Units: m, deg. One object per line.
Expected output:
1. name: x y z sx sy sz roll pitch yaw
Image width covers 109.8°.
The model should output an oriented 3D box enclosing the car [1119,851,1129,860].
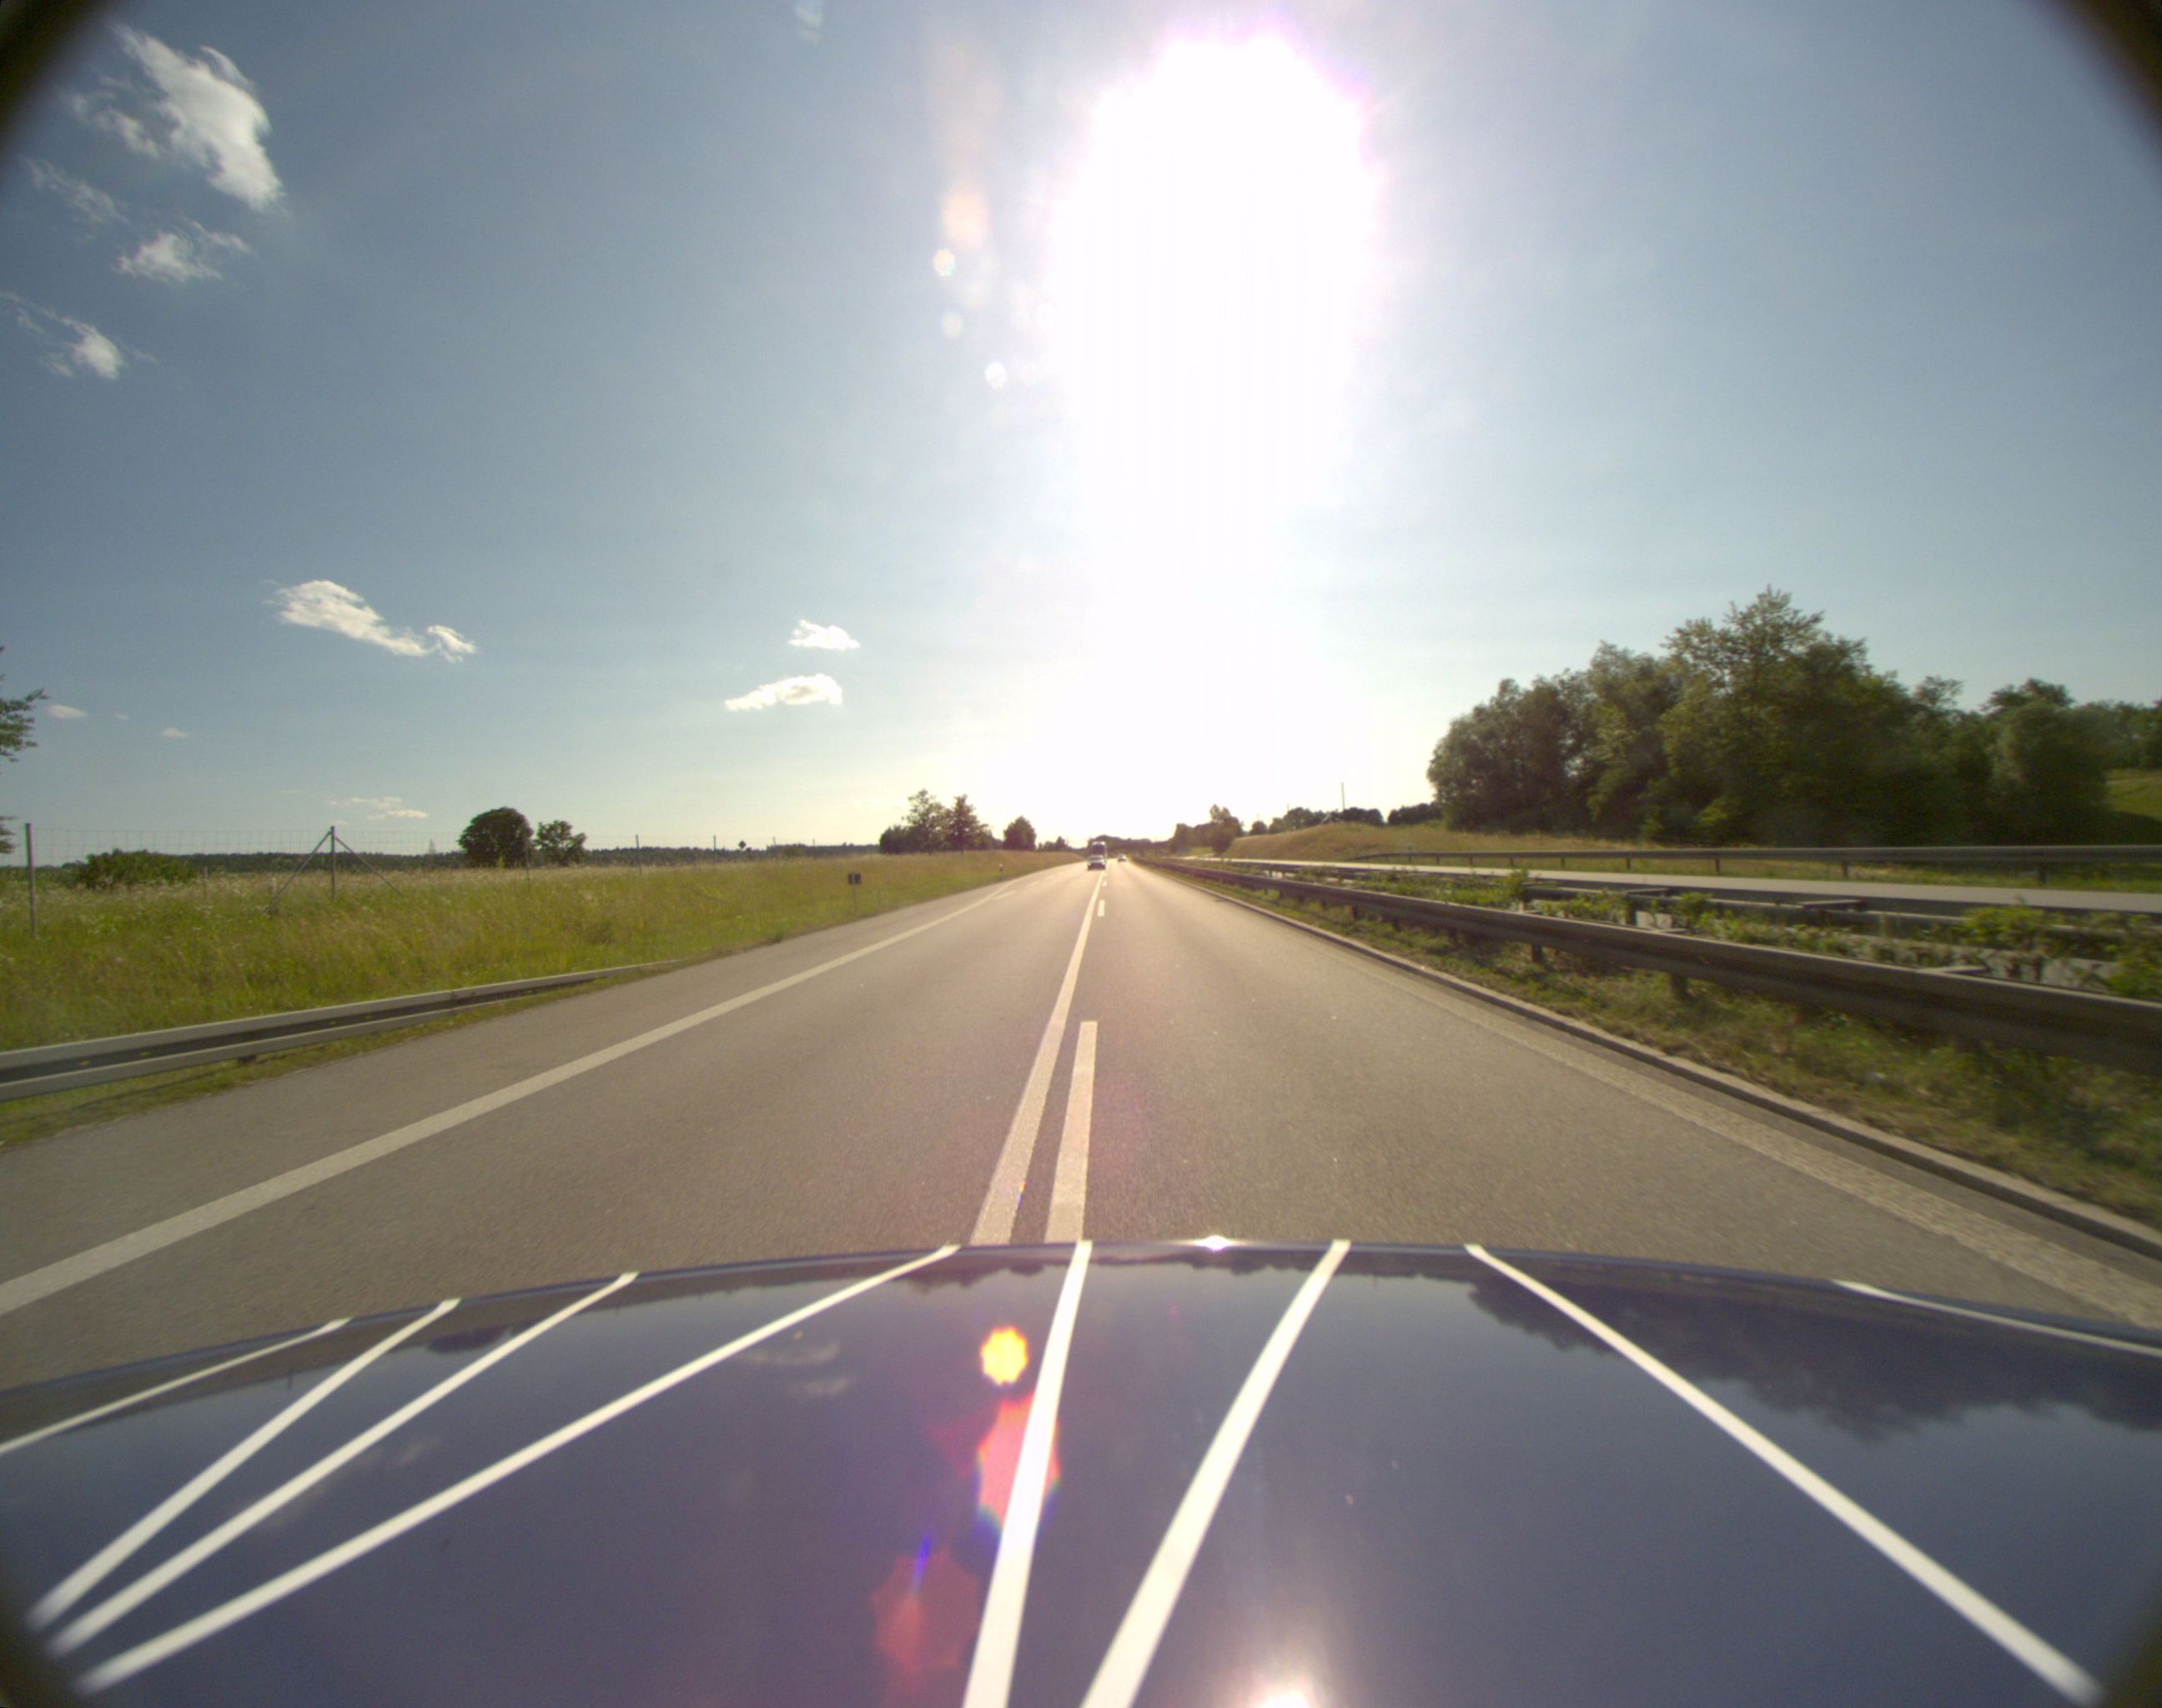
1. car: 8.396 0.297 148.979 1.998 1.652 4.001 -1 0 2

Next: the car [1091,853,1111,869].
1. car: 1.999 0.703 75.982 1.870 1.514 4.284 -2 0 3

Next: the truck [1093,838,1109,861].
1. truck: 3.892 -0.891 146.848 2.536 4.228 11.266 -3 1 3
